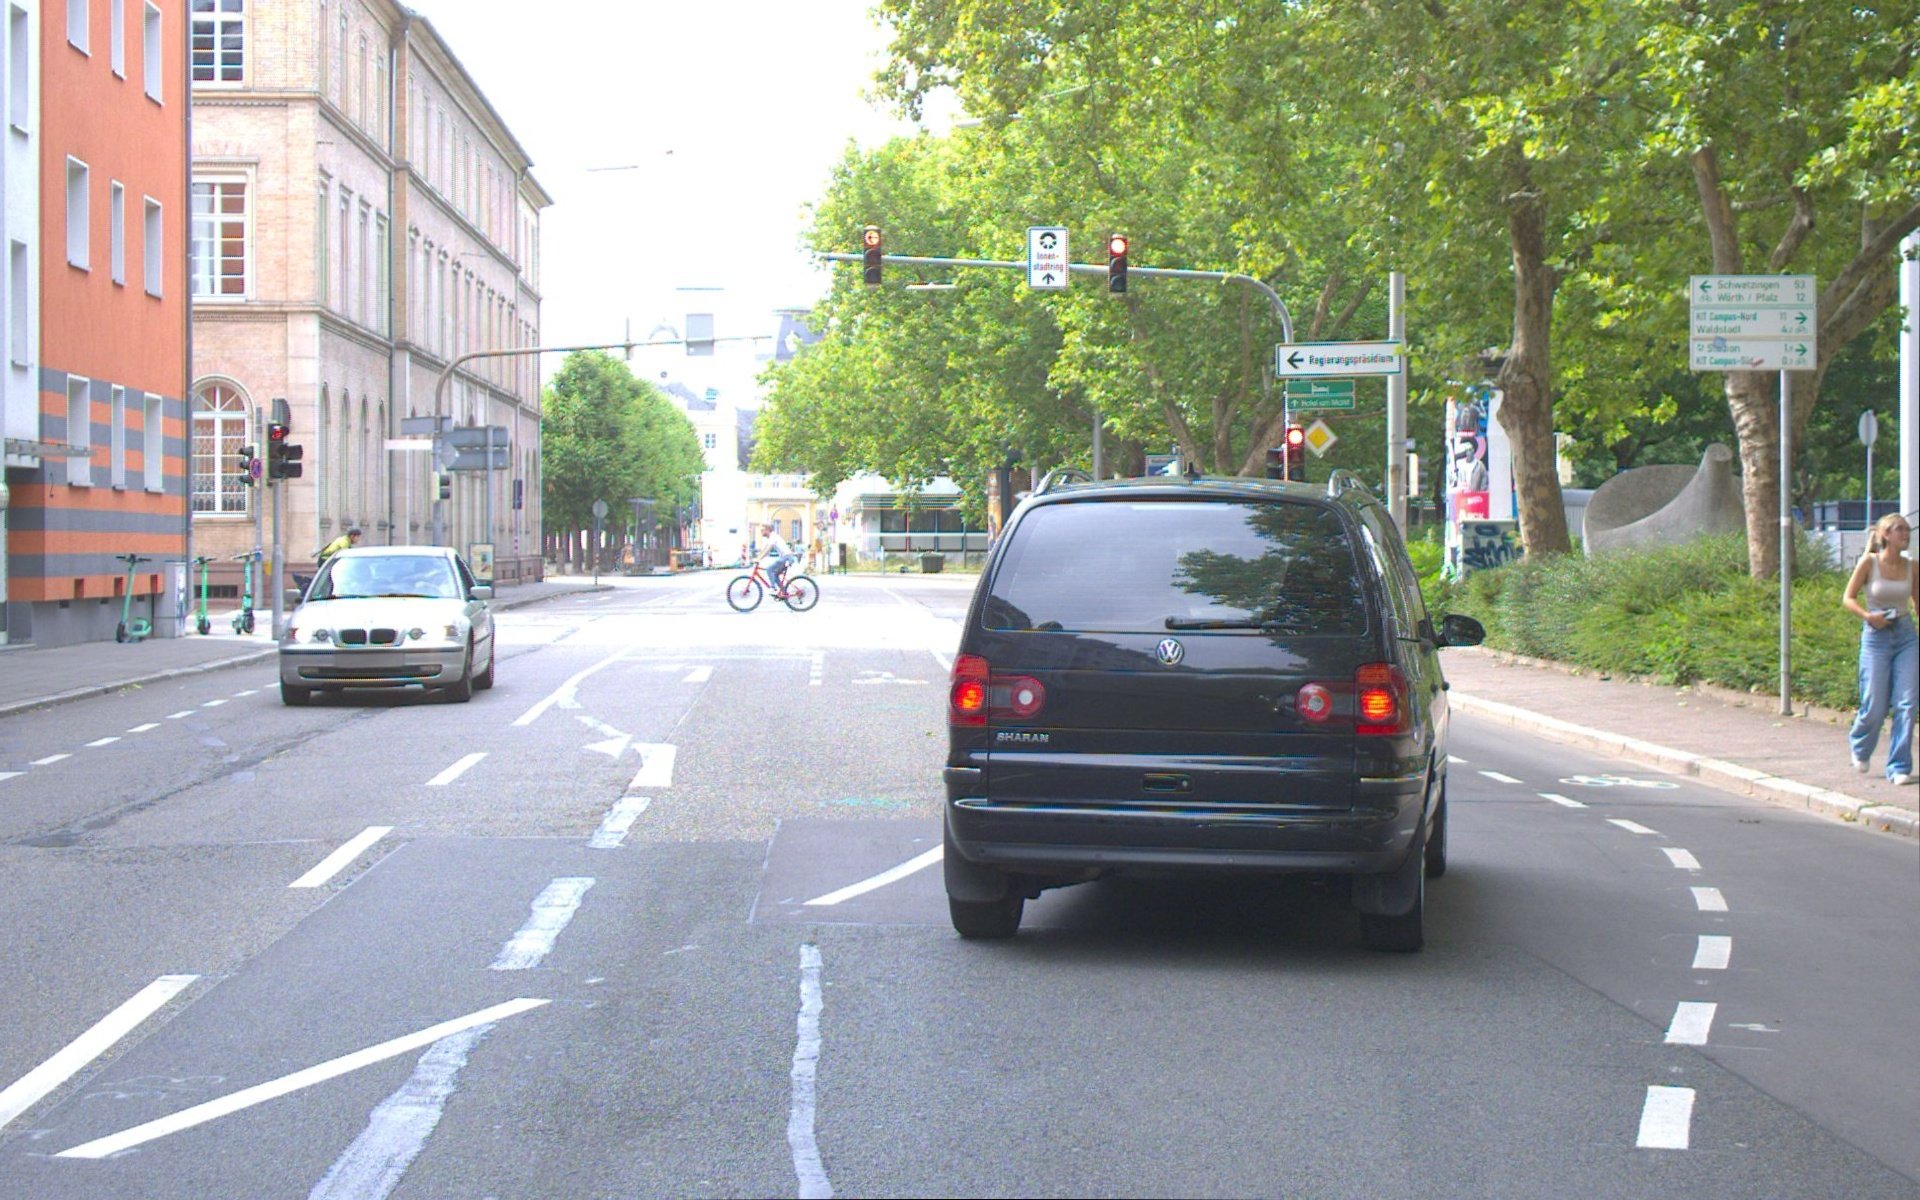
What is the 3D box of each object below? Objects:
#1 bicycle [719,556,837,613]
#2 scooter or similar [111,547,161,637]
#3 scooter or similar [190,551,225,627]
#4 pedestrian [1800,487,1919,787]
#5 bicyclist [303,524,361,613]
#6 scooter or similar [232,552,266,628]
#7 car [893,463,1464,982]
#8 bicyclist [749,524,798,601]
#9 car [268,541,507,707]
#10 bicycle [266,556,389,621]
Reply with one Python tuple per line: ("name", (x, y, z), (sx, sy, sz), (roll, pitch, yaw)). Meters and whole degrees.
("bicycle", (-3.513, -0.303, 66.258), (2.233, 1.090, 0.627), (0, 1, -7))
("scooter or similar", (-10.968, -0.103, 45.778), (0.378, 1.179, 1.390), (0, 0, -2))
("scooter or similar", (-11.377, -0.162, 51.985), (0.378, 1.143, 1.142), (0, 0, -6))
("pedestrian", (5.672, 0.213, 21.039), (0.710, 1.777, 1.034), (-2, 1, -3))
("bicyclist", (-10.739, -0.542, 58.765), (0.914, 1.509, 0.626), (0, 1, -5))
("scooter or similar", (-10.838, -0.149, 52.431), (0.378, 1.140, 1.142), (0, 0, -6))
("car", (1.062, 0.360, 13.965), (1.874, 1.739, 4.572), (1, 1, 9))
("bicyclist", (-3.600, -0.724, 66.242), (0.914, 1.488, 0.626), (0, 1, -6))
("car", (-5.342, 0.177, 32.516), (1.757, 1.422, 4.099), (-1, 1, -3))
("bicycle", (-10.810, -0.203, 58.761), (2.018, 1.090, 0.627), (0, 1, -4))
